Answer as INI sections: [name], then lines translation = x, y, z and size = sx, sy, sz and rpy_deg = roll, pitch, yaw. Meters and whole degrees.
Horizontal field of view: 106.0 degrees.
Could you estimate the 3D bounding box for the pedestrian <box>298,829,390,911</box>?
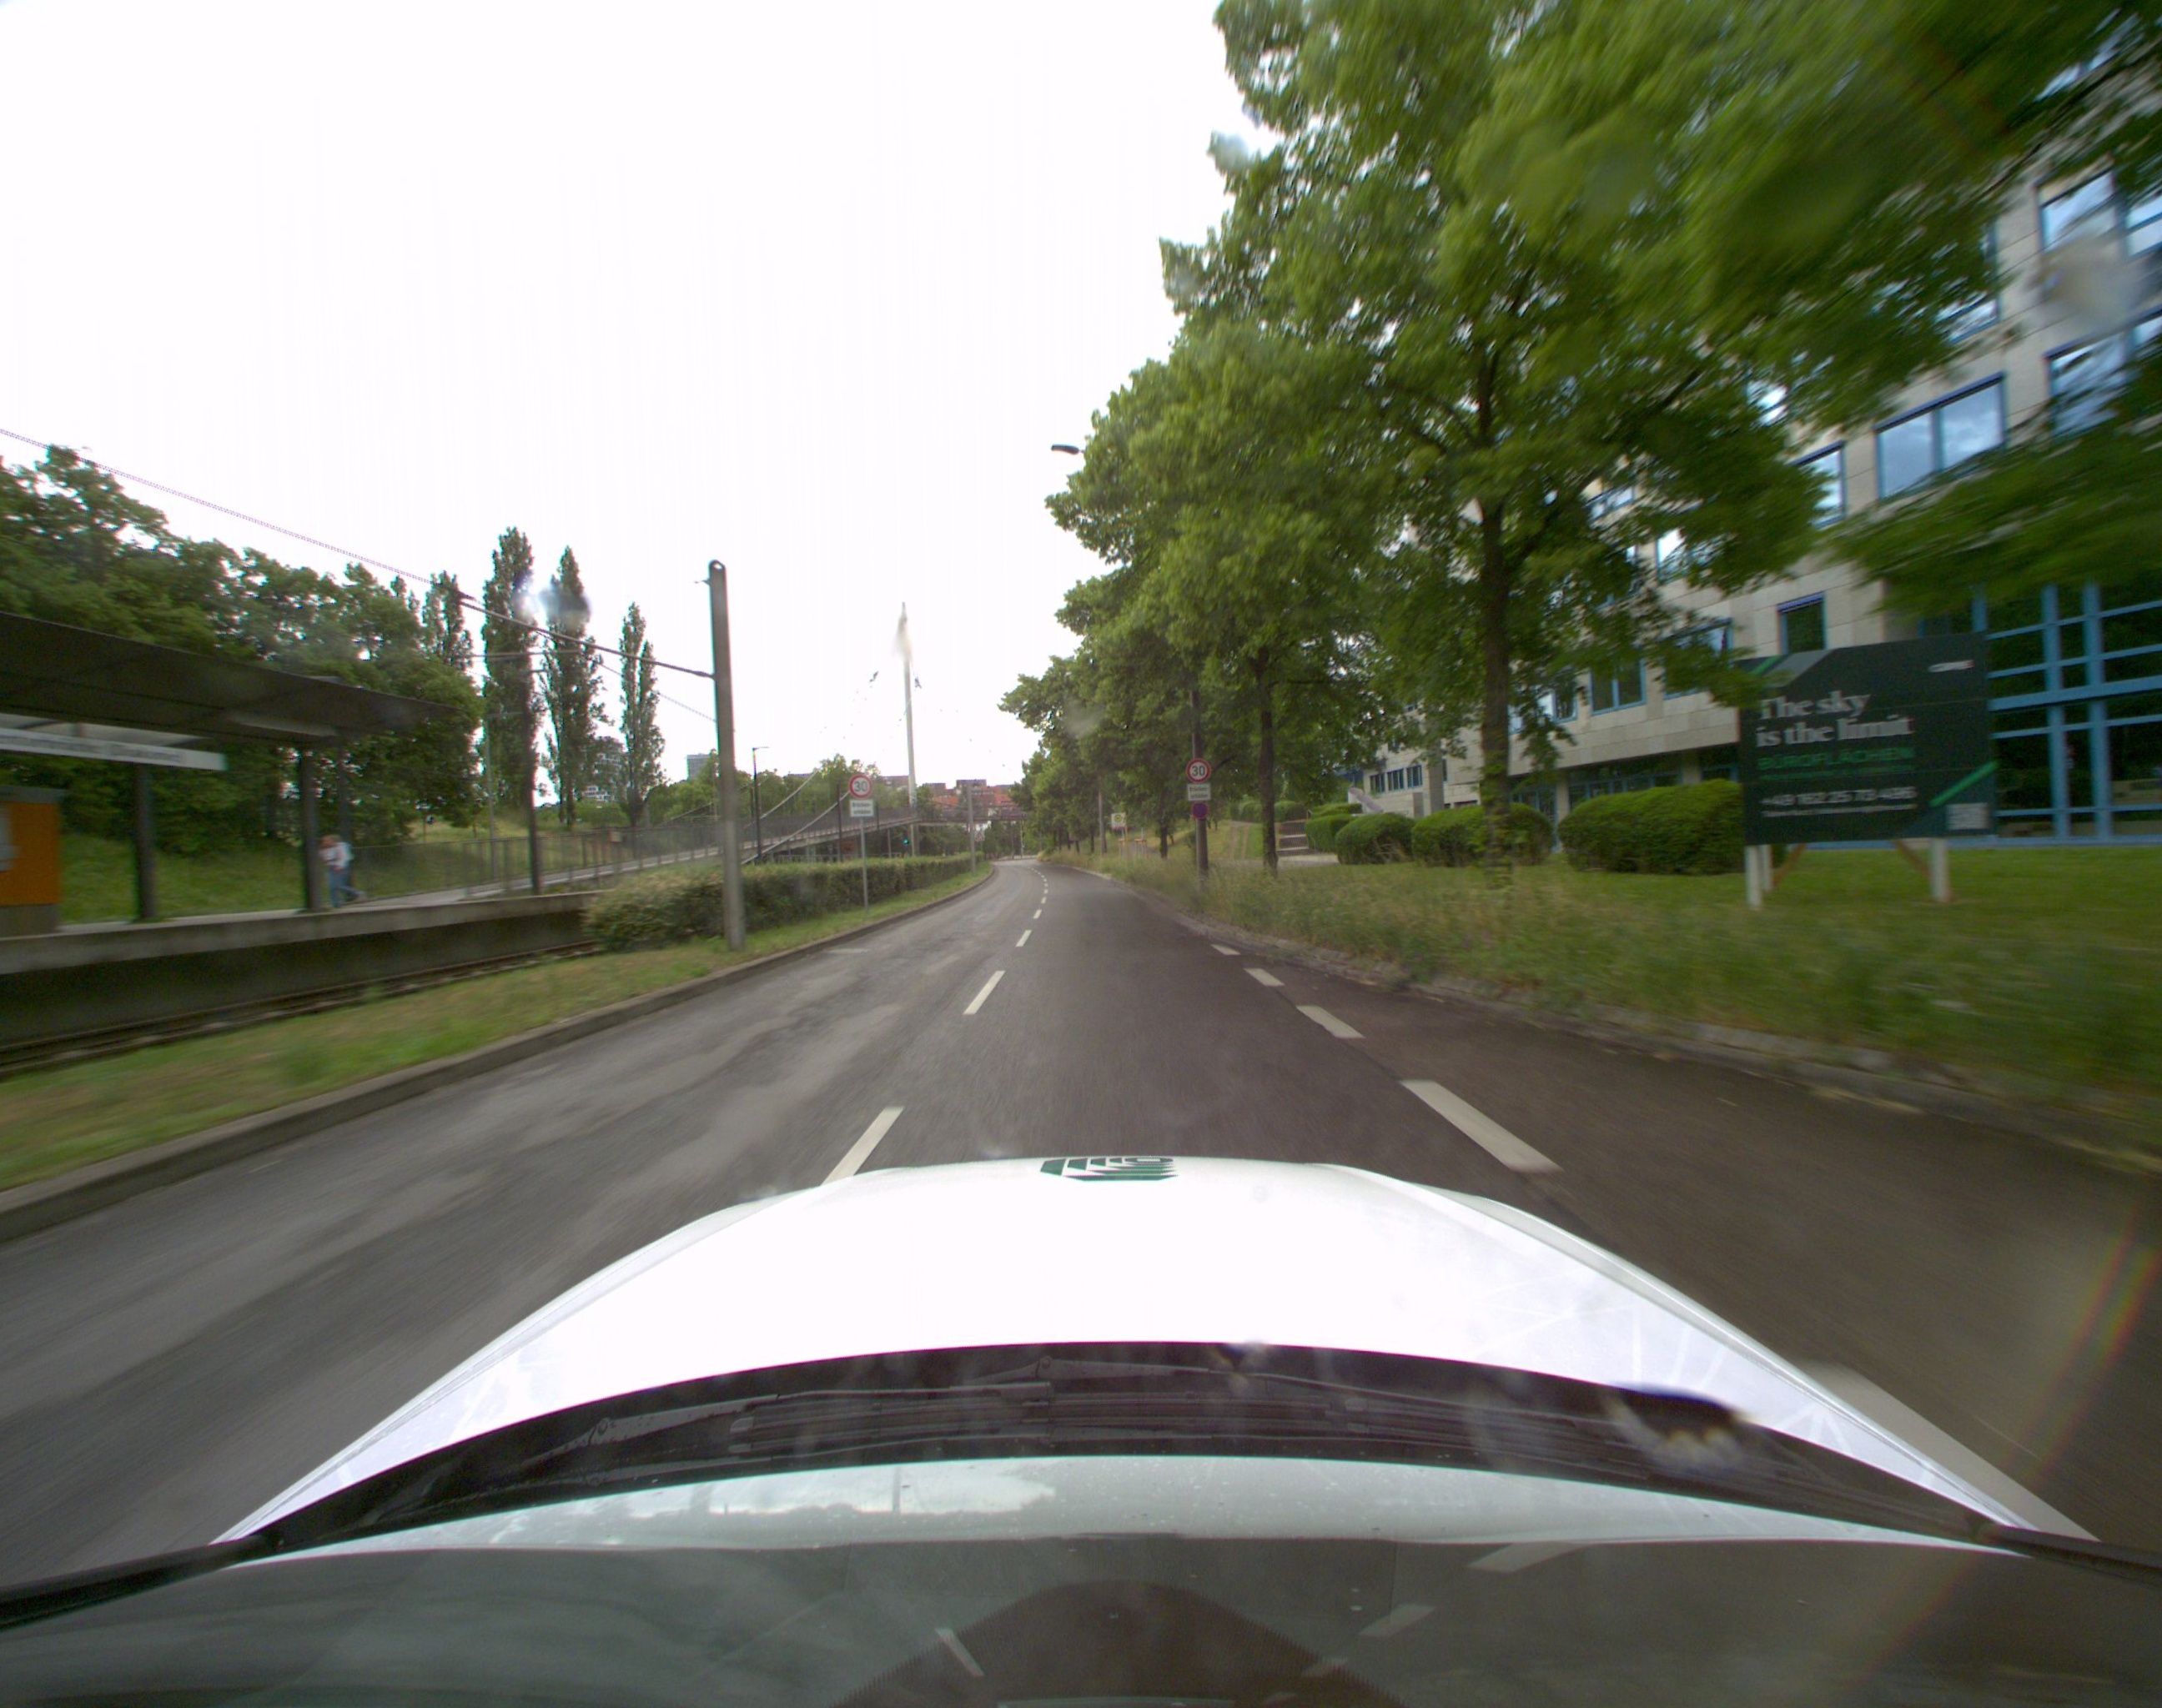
[pedestrian]
translation = -15.335, 0.322, 16.977
size = 0.932, 1.611, 1.026
rpy_deg = -3, 0, -2
